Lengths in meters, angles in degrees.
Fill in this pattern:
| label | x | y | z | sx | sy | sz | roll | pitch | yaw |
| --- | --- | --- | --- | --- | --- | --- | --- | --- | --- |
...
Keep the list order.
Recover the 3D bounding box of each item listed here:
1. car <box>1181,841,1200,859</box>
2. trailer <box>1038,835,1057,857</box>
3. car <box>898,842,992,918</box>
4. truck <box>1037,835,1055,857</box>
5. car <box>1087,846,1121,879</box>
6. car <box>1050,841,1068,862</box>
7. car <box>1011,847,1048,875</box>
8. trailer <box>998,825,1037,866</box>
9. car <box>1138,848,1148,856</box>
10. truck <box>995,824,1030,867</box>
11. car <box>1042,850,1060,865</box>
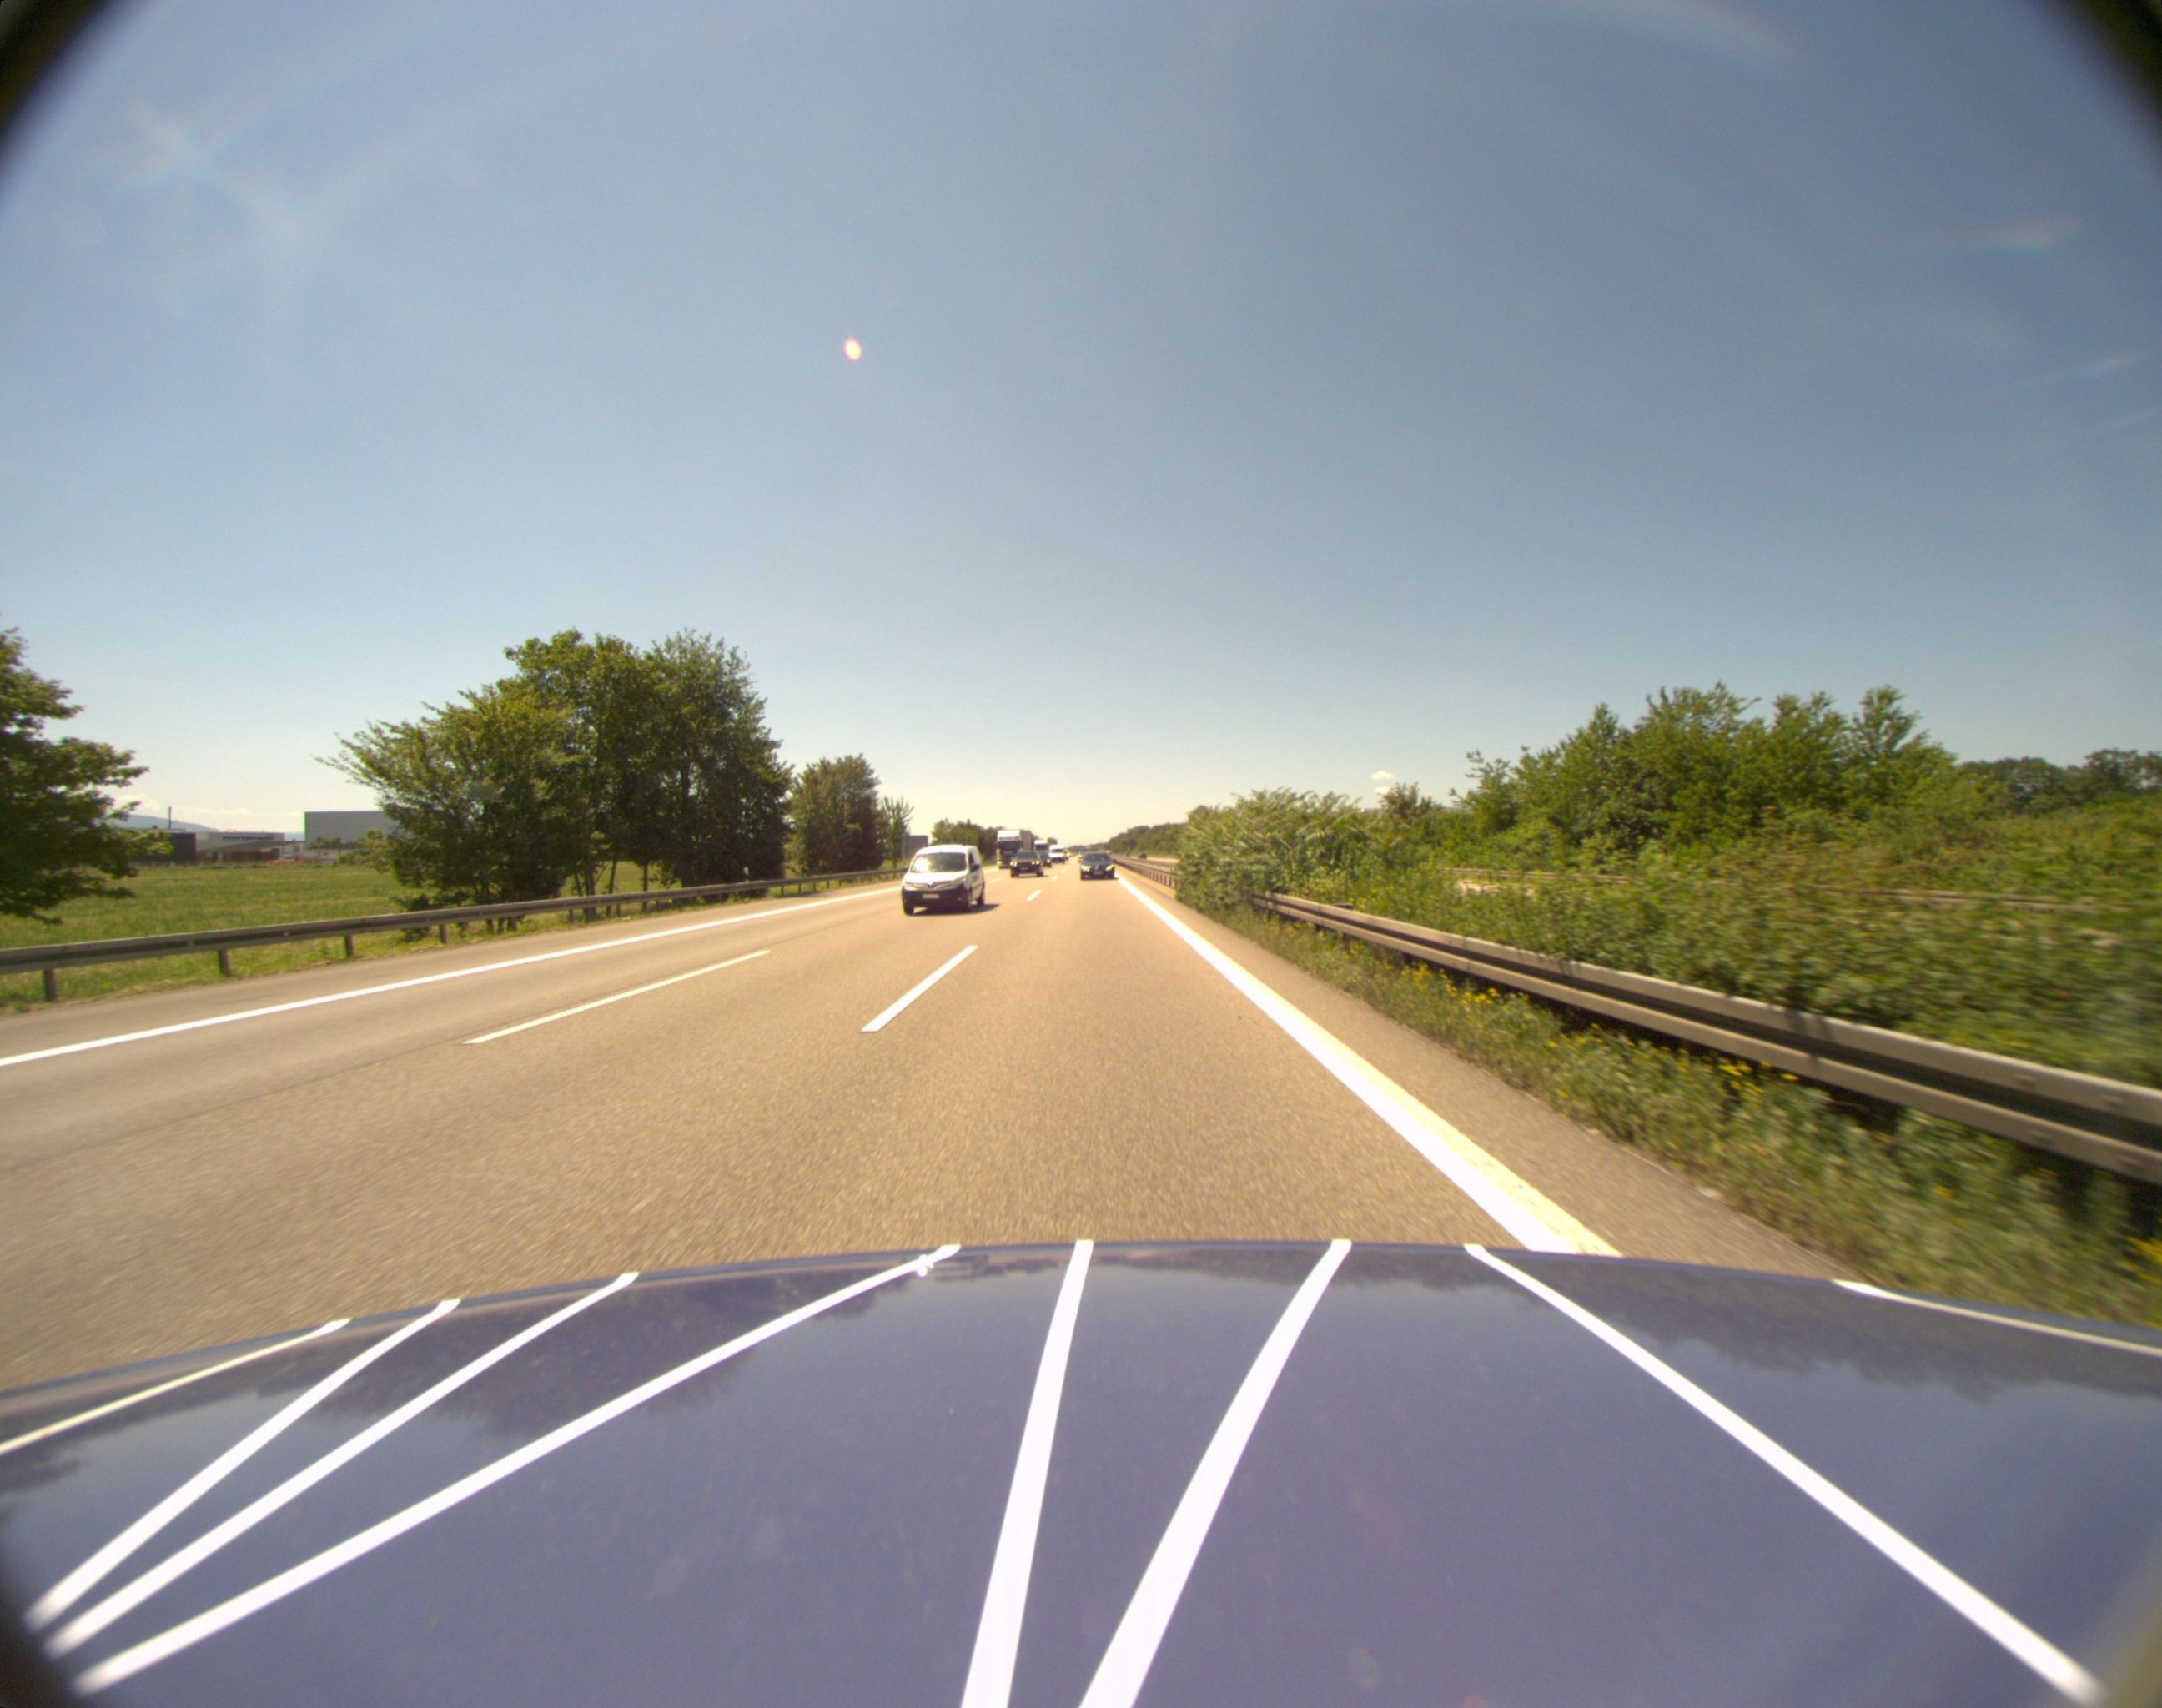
| label | x | y | z | sx | sy | sz | roll | pitch | yaw |
| --- | --- | --- | --- | --- | --- | --- | --- | --- | --- |
| car | 18.017 | -0.649 | 125.359 | 2.171 | 2.763 | 5.799 | 1 | 1 | 0 |
| trailer | -6.426 | -1.493 | 147.407 | 2.700 | 3.943 | 13.961 | -2 | 0 | 1 |
| car | -3.739 | 0.658 | 21.713 | 1.858 | 1.852 | 4.701 | -2 | 0 | -2 |
| truck | -6.512 | -1.483 | 141.630 | 2.700 | 3.943 | 7.703 | -2 | 0 | 1 |
| car | 1.246 | 0.409 | 41.115 | 1.690 | 1.646 | 3.462 | -2 | 0 | 1 |
| car | -2.884 | -0.323 | 99.258 | 2.159 | 2.494 | 5.945 | -2 | 0 | 0 |
| car | -3.269 | 0.401 | 49.368 | 1.871 | 1.665 | 4.746 | -2 | 0 | 2 |
| trailer | -7.120 | -0.957 | 87.421 | 2.817 | 4.279 | 14.253 | -2 | 0 | 1 |
| car | 13.899 | -0.482 | 171.513 | 1.873 | 1.680 | 4.626 | 1 | 0 | 0 |
| truck | -7.239 | -0.915 | 81.228 | 2.817 | 4.279 | 7.193 | -2 | 1 | 1 |
| car | -2.930 | 0.347 | 75.777 | 1.692 | 1.465 | 3.432 | -2 | 0 | -1 |
